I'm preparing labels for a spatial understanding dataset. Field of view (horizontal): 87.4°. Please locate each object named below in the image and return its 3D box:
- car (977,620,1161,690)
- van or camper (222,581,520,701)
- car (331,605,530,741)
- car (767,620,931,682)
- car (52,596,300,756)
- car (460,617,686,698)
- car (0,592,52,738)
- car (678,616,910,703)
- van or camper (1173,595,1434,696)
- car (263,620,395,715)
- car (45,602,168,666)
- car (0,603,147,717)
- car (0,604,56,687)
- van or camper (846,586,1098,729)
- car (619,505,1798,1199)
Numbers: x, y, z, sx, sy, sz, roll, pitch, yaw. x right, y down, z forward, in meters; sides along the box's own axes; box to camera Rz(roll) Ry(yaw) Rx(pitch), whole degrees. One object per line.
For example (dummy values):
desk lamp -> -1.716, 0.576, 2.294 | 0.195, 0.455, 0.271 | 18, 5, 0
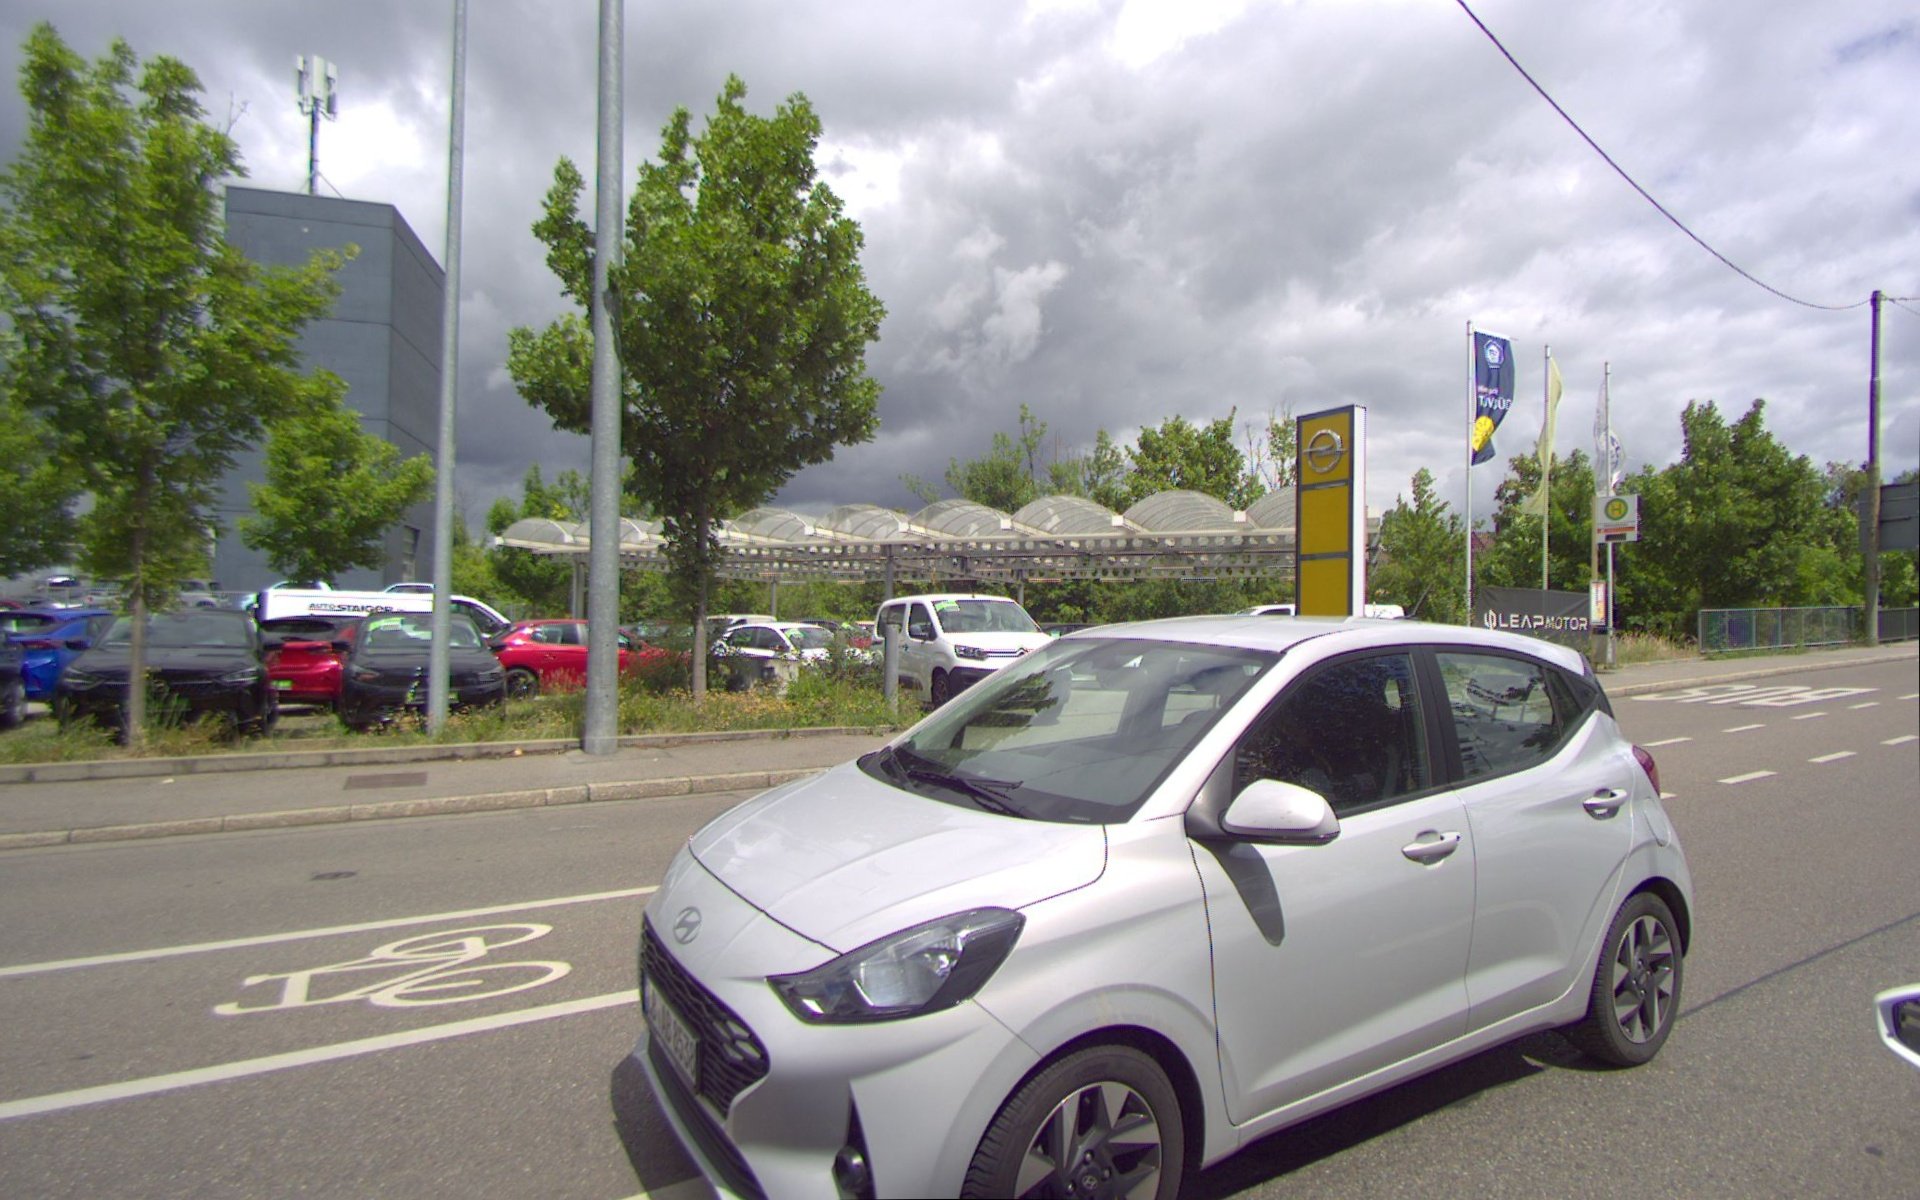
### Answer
car -> 2.555, 1.233, 23.419 | 3.923, 1.486, 1.817 | 0, -1, 23
van or camper -> -10.973, 0.750, 19.053 | 4.630, 2.040, 1.984 | 1, -2, -30
car -> -6.750, 0.830, 12.611 | 1.777, 1.428, 3.674 | 1, -2, -35
car -> -2.792, 1.253, 25.364 | 3.704, 1.486, 1.818 | -1, -2, 19
car -> -8.629, 0.762, 11.392 | 1.753, 1.480, 3.814 | 1, -2, -31
car -> -6.640, 0.947, 17.304 | 3.435, 1.270, 1.532 | 1, -2, -31
car -> -10.911, 0.677, 10.241 | 1.793, 1.517, 3.793 | 1, -2, -32
car -> -3.250, 1.056, 19.205 | 4.456, 1.455, 2.003 | -1, -2, 41
van or camper -> 7.133, 0.916, 21.278 | 4.859, 1.989, 1.991 | 0, 0, 2
car -> -9.529, 0.966, 15.367 | 1.527, 1.270, 3.448 | 1, -2, -30
car -> -28.590, 1.094, 33.801 | 1.972, 1.835, 3.978 | 3, 1, -23
car -> -12.420, 0.775, 13.721 | 1.500, 1.391, 3.301 | 1, -2, -30
car -> -17.546, 0.805, 17.859 | 1.500, 1.391, 3.301 | 1, -2, -30
van or camper -> -0.027, 0.776, 15.054 | 1.973, 1.773, 4.655 | 0, -1, -25
car -> 1.046, 0.692, 3.537 | 3.955, 1.602, 1.710 | 2, 0, -31
